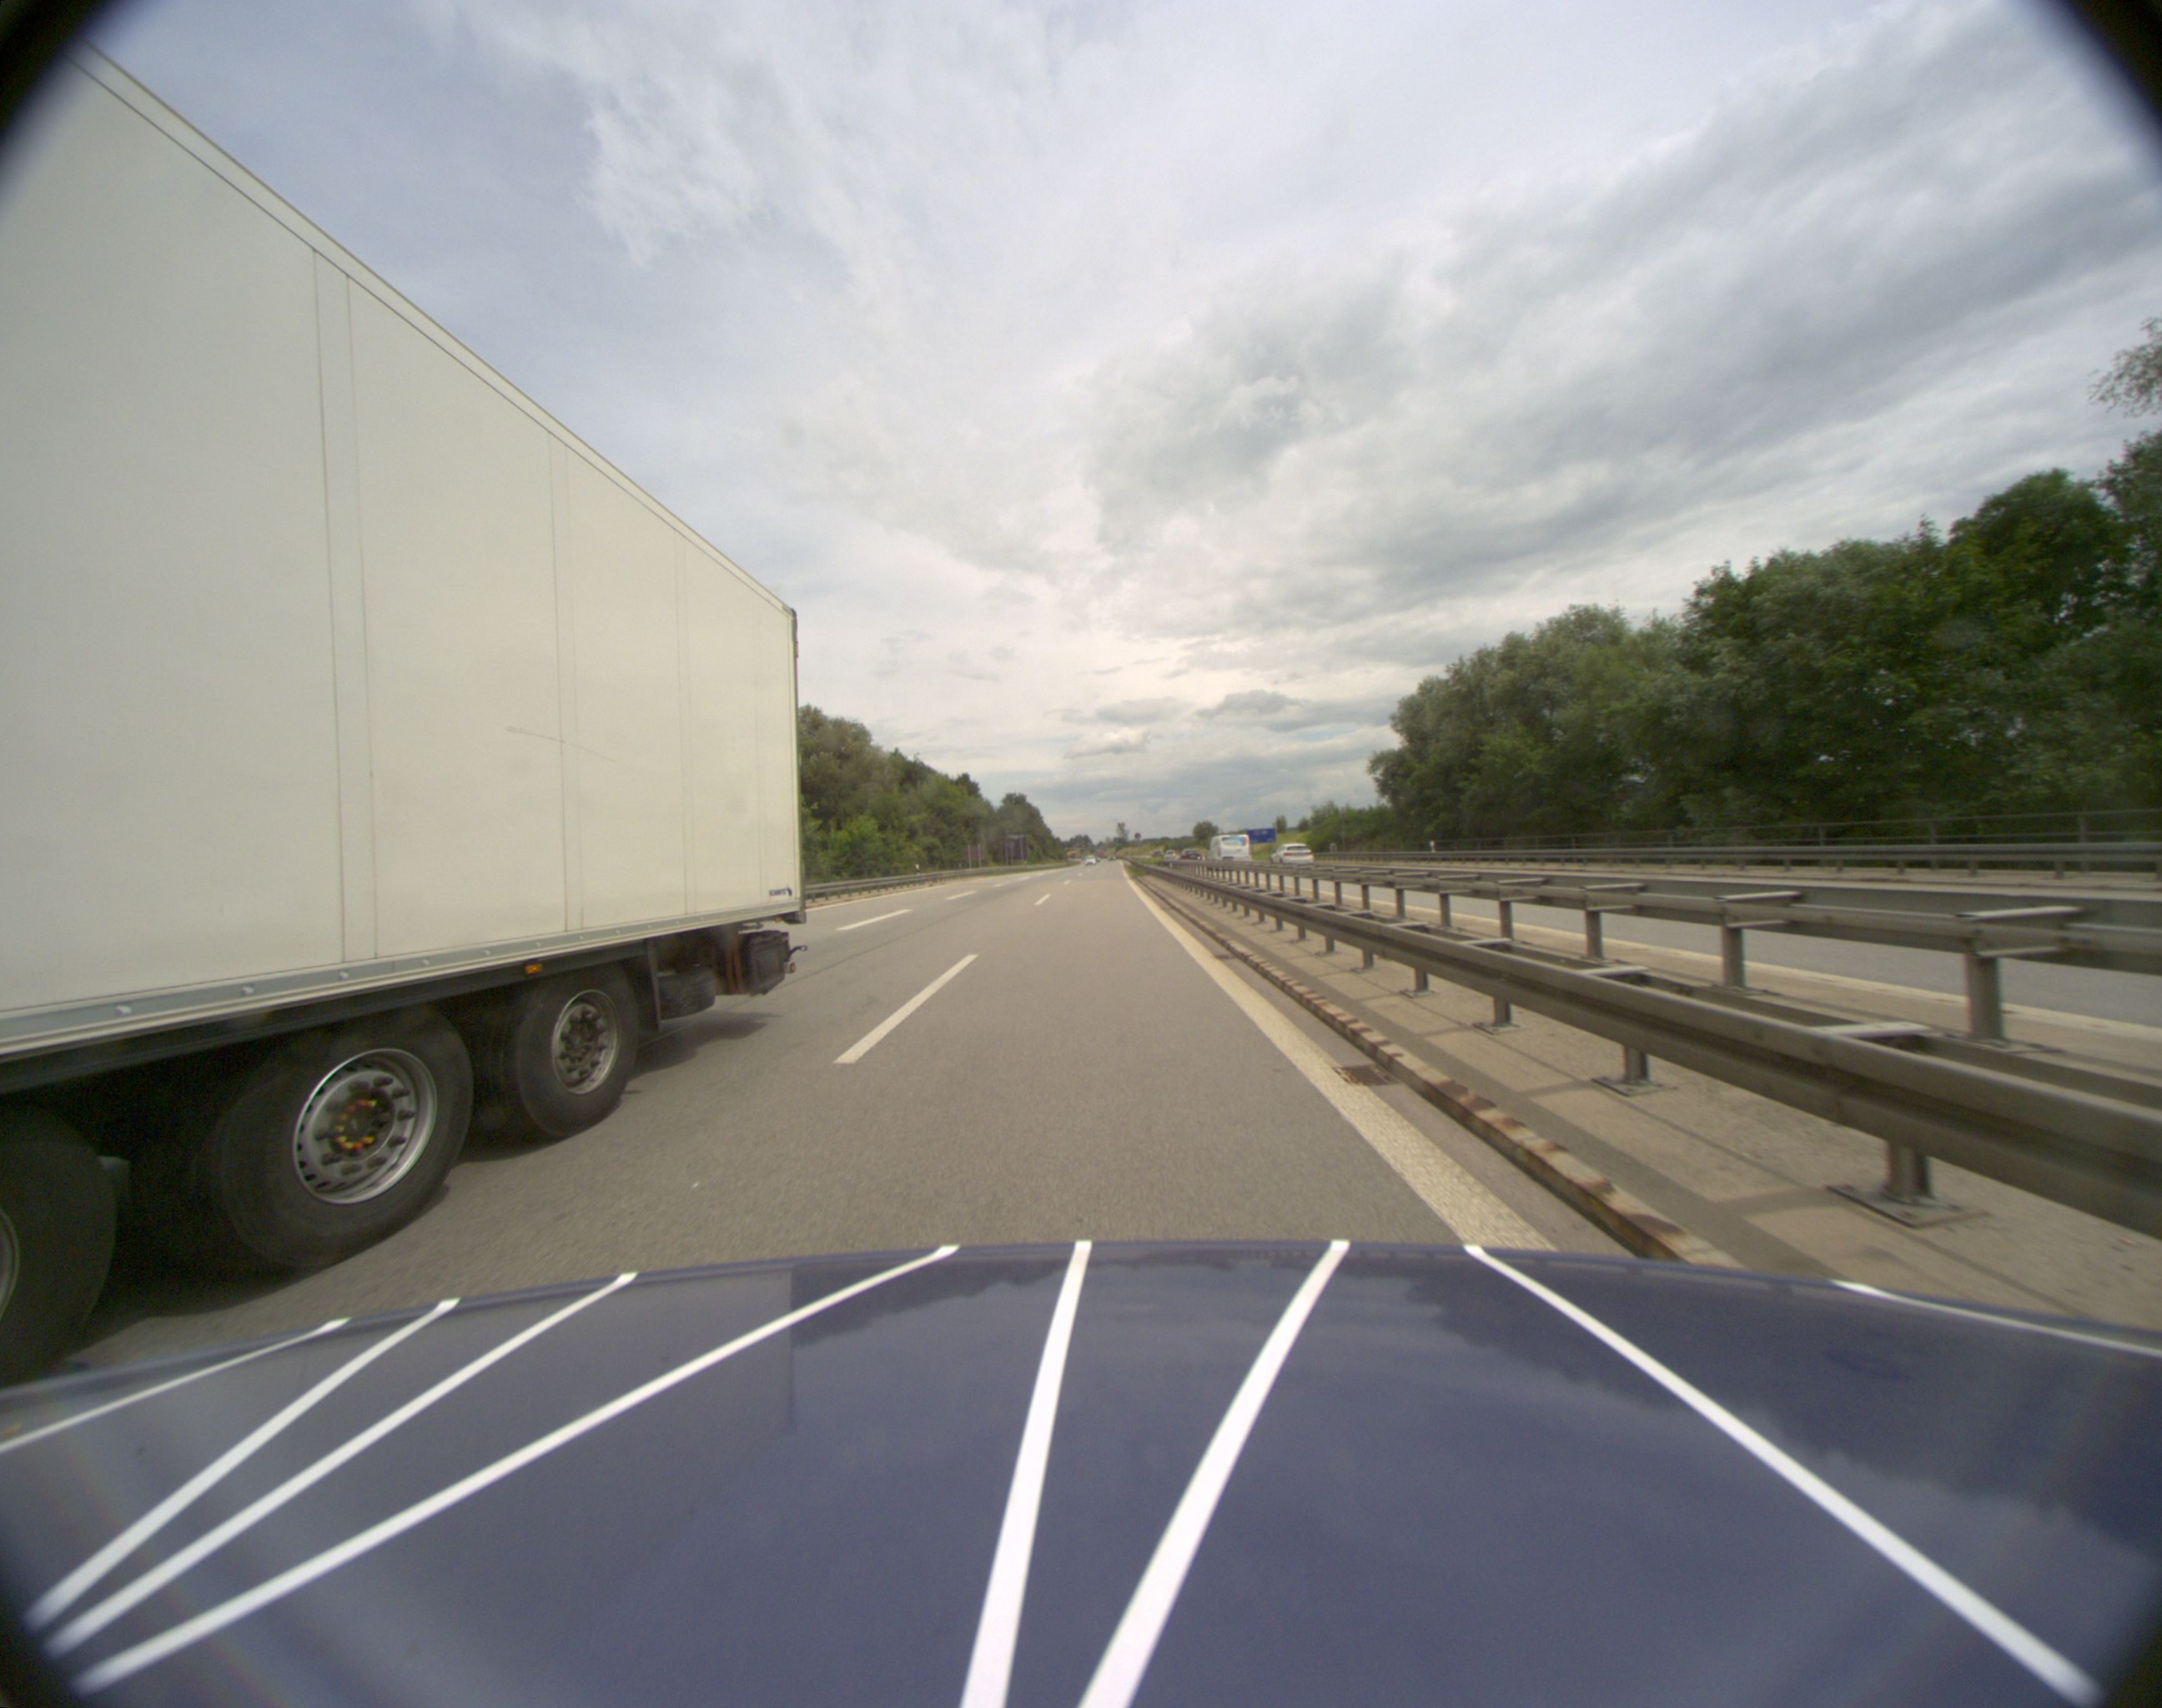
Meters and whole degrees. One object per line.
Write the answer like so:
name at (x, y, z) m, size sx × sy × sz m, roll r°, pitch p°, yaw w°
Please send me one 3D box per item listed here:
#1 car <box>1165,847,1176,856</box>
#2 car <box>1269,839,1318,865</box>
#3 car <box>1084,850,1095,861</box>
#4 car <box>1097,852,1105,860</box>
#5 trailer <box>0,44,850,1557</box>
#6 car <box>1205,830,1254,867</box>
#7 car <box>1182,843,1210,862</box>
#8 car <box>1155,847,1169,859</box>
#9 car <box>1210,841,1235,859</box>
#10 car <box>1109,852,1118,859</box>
car at (16.856, -0.398, 142.576) m, size 1.654 × 1.483 × 4.283 m, roll -5°, pitch 0°, yaw 3°
car at (12.450, -0.127, 44.719) m, size 1.850 × 1.430 × 3.936 m, roll -2°, pitch 0°, yaw 2°
car at (1.597, 0.315, 134.440) m, size 1.775 × 1.813 × 4.166 m, roll -2°, pitch 0°, yaw 2°
car at (4.882, 0.502, 187.487) m, size 1.649 × 1.686 × 4.737 m, roll -2°, pitch 0°, yaw 0°
trailer at (-4.315, -0.125, 1.259) m, size 3.069 × 3.868 × 13.791 m, roll -2°, pitch 0°, yaw 2°
car at (8.470, -0.288, 43.830) m, size 1.776 × 1.899 × 4.714 m, roll -4°, pitch 0°, yaw 0°
car at (10.395, -0.154, 69.053) m, size 1.850 × 1.602 × 4.947 m, roll -3°, pitch 0°, yaw 2°
car at (12.466, -0.158, 117.024) m, size 1.729 × 1.641 × 4.224 m, roll -3°, pitch 0°, yaw 3°
car at (13.526, -0.400, 72.914) m, size 1.733 × 1.550 × 4.332 m, roll -3°, pitch 0°, yaw 3°
car at (8.046, 0.350, 189.623) m, size 1.775 × 1.474 × 4.696 m, roll -3°, pitch 0°, yaw -2°
